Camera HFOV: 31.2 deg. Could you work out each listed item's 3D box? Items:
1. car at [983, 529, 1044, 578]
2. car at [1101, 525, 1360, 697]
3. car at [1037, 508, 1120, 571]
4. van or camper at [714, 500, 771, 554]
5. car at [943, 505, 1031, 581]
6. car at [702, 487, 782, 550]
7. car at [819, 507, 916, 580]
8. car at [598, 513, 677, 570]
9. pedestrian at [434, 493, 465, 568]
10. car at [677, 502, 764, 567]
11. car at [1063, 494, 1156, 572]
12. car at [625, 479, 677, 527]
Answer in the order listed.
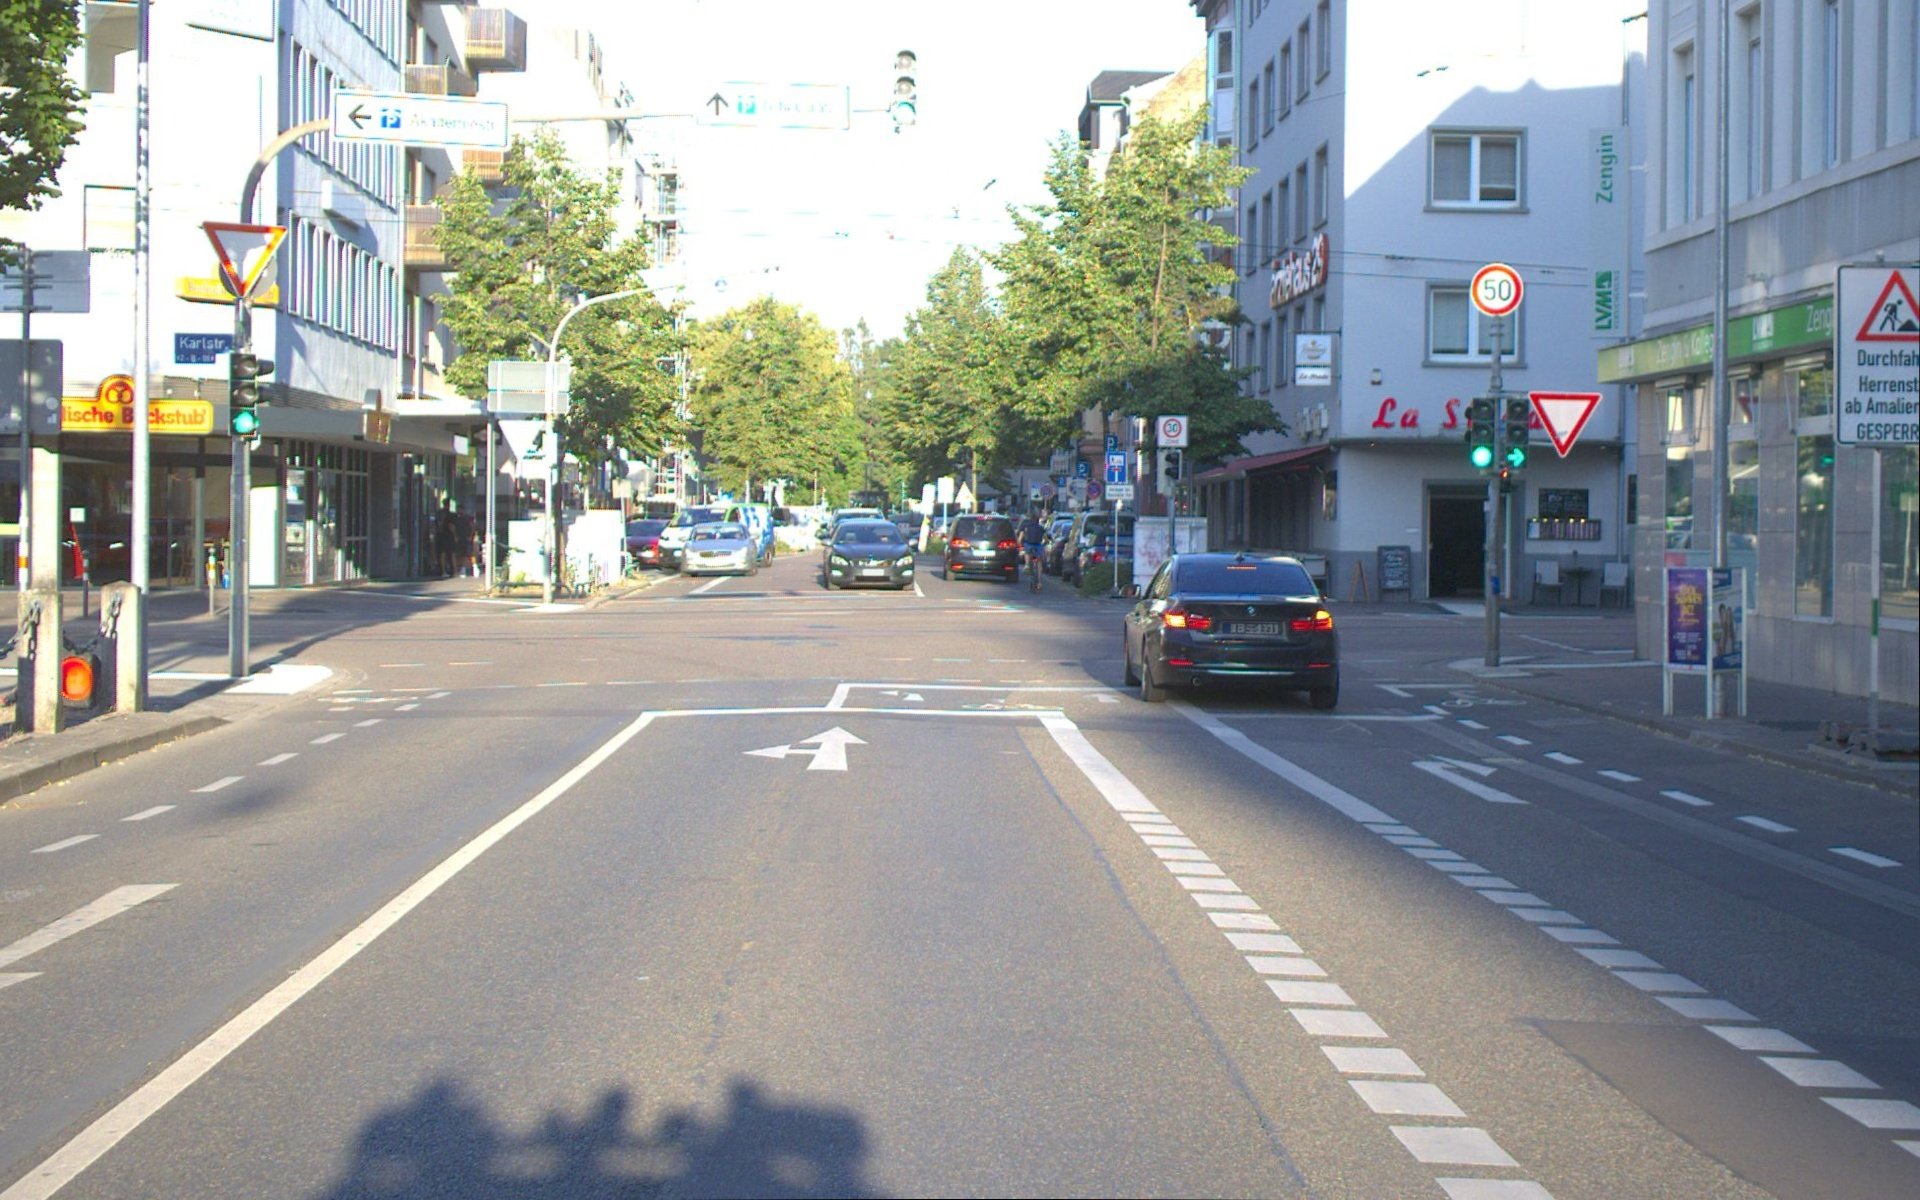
[{"bbox_3d":[1.833,-1.627,119.714,1.780,1.590,3.635,1,1,-4],"label":"car"},{"bbox_3d":[2.506,0.054,32.835,1.888,1.486,4.205,1,1,-3],"label":"car"},{"bbox_3d":[3.153,-1.642,92.250,1.993,1.611,4.000,1,1,-1],"label":"car"},{"bbox_3d":[-10.046,-3.369,158.751,2.472,2.397,4.001,1,1,-5],"label":"van or camper"},{"bbox_3d":[0.631,-1.400,82.965,1.993,1.744,4.000,1,2,-1],"label":"car"},{"bbox_3d":[-6.281,-2.365,99.590,1.993,1.744,4.000,1,1,0],"label":"car"},{"bbox_3d":[-1.943,-1.220,73.041,1.885,1.481,4.000,1,2,0],"label":"car"},{"bbox_3d":[-9.433,-1.733,100.878,1.894,1.590,4.000,1,1,0],"label":"car"},{"bbox_3d":[-11.870,-1.615,79.918,0.600,1.715,0.578,1,1,-15],"label":"pedestrian"},{"bbox_3d":[-6.123,-1.691,88.389,1.894,1.590,4.000,1,1,0],"label":"car"},{"bbox_3d":[3.581,-1.626,83.003,1.993,1.773,4.000,1,1,-1],"label":"car"},{"bbox_3d":[-13.301,-4.157,147.973,1.828,2.007,3.676,1,1,0],"label":"car"}]
